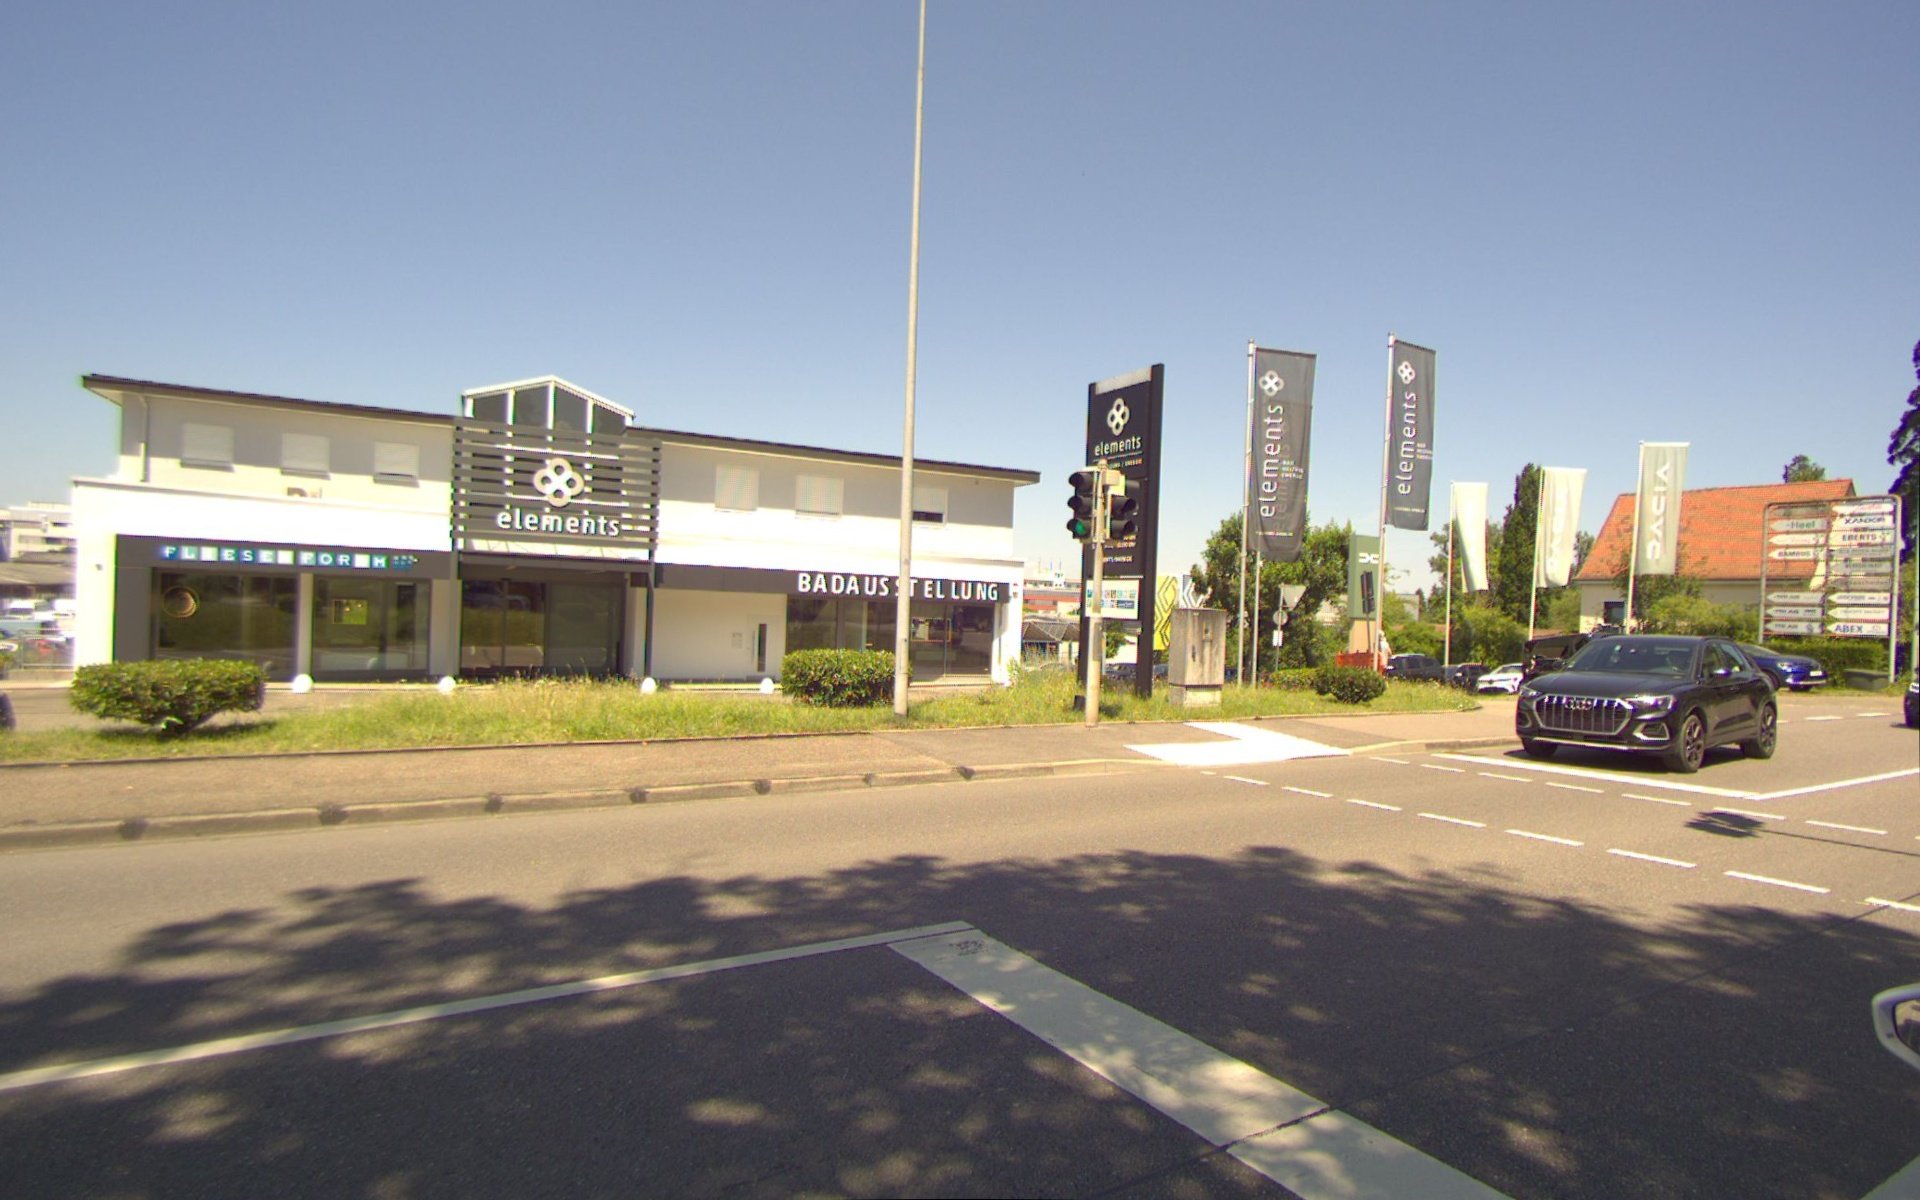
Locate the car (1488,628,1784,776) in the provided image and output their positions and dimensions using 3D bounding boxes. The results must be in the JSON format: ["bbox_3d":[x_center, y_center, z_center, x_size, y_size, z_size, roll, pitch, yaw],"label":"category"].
[{"bbox_3d":[8.895,1.220,13.100,4.263,1.576,1.912,3,-1,-37],"label":"car"}]

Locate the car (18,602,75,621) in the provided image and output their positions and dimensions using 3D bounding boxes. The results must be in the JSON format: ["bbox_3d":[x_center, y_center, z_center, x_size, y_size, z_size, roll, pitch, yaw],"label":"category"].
[{"bbox_3d":[-89.545,1.151,98.524,3.727,1.778,1.719,3,-2,-28],"label":"car"}]

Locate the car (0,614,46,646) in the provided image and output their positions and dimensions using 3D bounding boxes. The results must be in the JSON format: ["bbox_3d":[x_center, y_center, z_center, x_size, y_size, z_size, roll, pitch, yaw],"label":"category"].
[{"bbox_3d":[-54.315,1.664,56.631,3.726,1.778,1.719,2,-1,-28],"label":"car"}]

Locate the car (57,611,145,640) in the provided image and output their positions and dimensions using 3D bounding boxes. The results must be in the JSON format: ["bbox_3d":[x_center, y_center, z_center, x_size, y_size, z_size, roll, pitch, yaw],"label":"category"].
[{"bbox_3d":[-56.369,1.688,66.008,4.004,1.778,1.719,2,-1,-28],"label":"car"}]

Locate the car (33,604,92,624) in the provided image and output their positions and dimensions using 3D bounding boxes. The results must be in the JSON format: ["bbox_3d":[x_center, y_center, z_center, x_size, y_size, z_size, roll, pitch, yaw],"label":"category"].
[{"bbox_3d":[-83.636,1.288,93.631,3.726,1.778,1.719,2,-1,-28],"label":"car"}]

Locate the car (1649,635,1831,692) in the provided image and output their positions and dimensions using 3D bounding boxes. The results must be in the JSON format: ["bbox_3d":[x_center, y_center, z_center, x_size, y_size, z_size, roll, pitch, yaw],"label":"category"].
[{"bbox_3d":[23.868,1.907,30.910,1.751,1.524,4.129,2,-1,-20],"label":"car"}]

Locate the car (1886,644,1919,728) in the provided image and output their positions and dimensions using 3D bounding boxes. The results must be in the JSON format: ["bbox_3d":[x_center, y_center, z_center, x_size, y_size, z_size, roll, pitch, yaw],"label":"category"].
[{"bbox_3d":[19.484,1.653,19.127,4.011,1.526,1.858,3,-1,-34],"label":"car"}]

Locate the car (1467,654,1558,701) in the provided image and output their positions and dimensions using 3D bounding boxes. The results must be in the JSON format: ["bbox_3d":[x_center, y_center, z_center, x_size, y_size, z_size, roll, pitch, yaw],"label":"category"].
[{"bbox_3d":[22.844,3.171,41.482,4.053,1.744,1.795,3,-1,-38],"label":"car"}]

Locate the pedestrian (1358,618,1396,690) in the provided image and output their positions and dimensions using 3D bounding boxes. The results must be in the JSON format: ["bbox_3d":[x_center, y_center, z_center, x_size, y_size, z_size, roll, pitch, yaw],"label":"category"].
[{"bbox_3d":[10.670,1.371,25.702,0.689,1.785,0.545,2,-1,-3],"label":"pedestrian"}]

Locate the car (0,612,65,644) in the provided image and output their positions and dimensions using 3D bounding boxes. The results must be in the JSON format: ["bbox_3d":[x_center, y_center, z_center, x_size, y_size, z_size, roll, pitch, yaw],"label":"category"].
[{"bbox_3d":[-55.579,1.644,59.257,3.726,1.778,1.719,2,-1,-28],"label":"car"}]

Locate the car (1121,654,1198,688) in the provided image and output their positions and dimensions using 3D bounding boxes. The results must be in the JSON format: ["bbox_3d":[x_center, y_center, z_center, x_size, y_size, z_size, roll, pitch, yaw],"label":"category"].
[{"bbox_3d":[9.895,3.476,49.638,3.973,1.505,1.735,3,-1,-44],"label":"car"}]

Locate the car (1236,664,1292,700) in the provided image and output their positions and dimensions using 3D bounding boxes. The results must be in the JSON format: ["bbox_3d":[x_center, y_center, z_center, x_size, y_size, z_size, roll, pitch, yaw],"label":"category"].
[{"bbox_3d":[17.307,4.630,57.031,1.785,1.744,4.075,2,-1,36],"label":"car"}]

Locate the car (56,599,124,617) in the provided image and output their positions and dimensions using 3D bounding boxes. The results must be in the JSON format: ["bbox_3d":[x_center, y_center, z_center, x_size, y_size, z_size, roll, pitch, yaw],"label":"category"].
[{"bbox_3d":[-96.739,0.921,111.774,5.236,1.778,2.051,2,-1,-28],"label":"car"}]

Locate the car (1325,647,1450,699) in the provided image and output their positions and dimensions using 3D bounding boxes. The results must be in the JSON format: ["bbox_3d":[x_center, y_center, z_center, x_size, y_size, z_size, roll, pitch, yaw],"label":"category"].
[{"bbox_3d":[16.032,2.731,37.701,4.022,1.744,1.808,2,0,-16],"label":"car"}]

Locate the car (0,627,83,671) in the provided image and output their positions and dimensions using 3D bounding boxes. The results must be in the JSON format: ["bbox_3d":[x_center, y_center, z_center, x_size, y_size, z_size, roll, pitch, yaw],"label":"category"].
[{"bbox_3d":[-40.222,2.100,42.969,3.726,1.778,1.719,2,-1,-28],"label":"car"}]

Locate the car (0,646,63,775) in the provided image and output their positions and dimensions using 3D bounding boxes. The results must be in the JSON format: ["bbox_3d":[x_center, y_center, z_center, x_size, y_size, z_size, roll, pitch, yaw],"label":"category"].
[{"bbox_3d":[-12.809,1.400,12.105,1.746,1.553,4.076,2,-1,-24],"label":"car"}]
